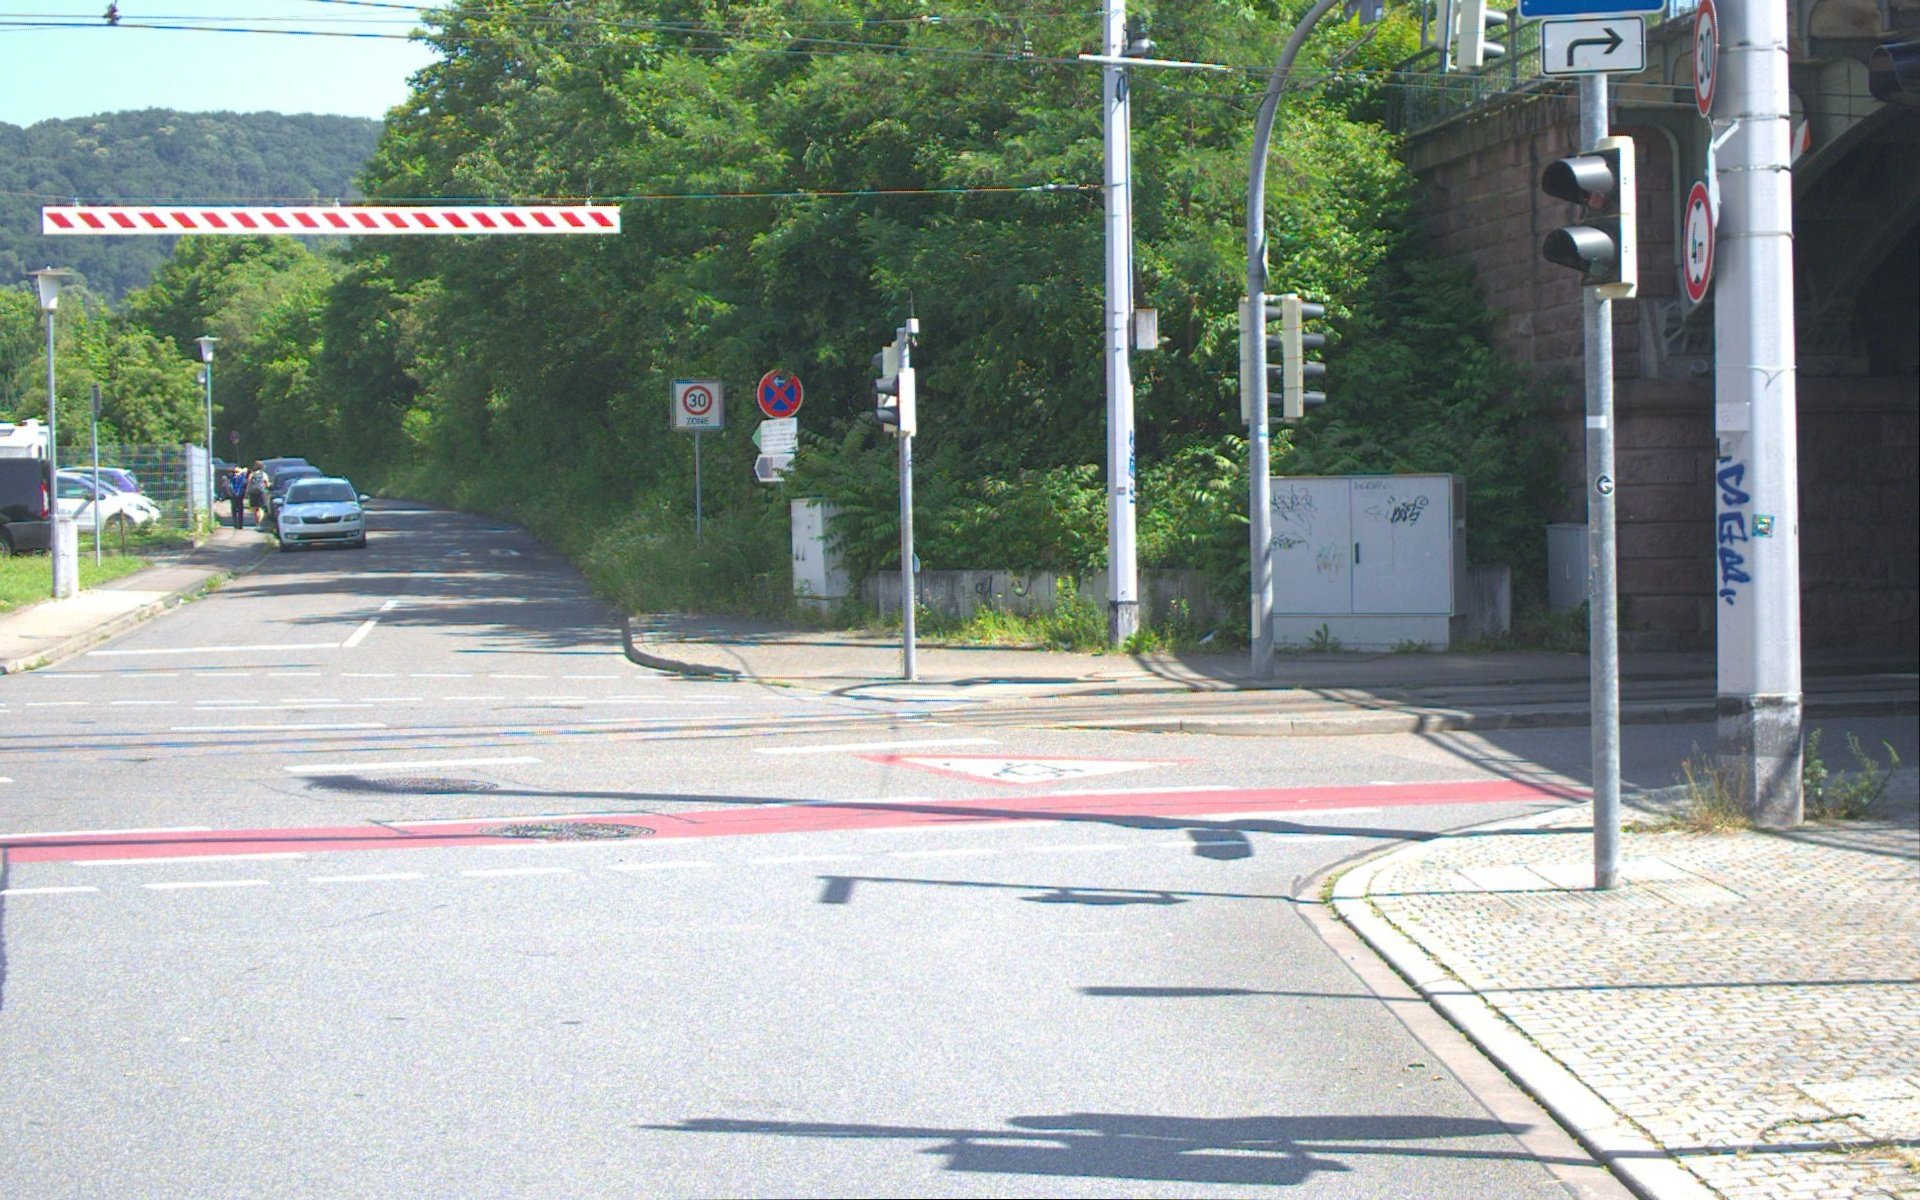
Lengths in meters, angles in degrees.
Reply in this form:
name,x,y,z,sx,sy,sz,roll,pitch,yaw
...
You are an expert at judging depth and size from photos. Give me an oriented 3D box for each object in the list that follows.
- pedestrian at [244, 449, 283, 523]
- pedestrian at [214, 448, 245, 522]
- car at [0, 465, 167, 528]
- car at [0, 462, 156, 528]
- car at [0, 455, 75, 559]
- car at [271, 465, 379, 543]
name,x,y,z,sx,sy,sz,roll,pitch,yaw
pedestrian,-16.724,-2.726,82.559,0.875,1.756,0.731,1,0,-9
pedestrian,-17.562,-2.761,82.650,0.653,1.756,0.804,1,0,-9
car,-19.928,-2.339,77.820,3.719,1.367,1.605,1,1,-7
car,-19.632,-2.294,75.401,3.719,1.367,1.605,1,0,-7
car,-18.572,-1.616,61.192,5.246,1.810,2.001,-2,2,-10
car,-13.394,-2.057,72.730,2.086,1.505,4.541,1,3,-9
